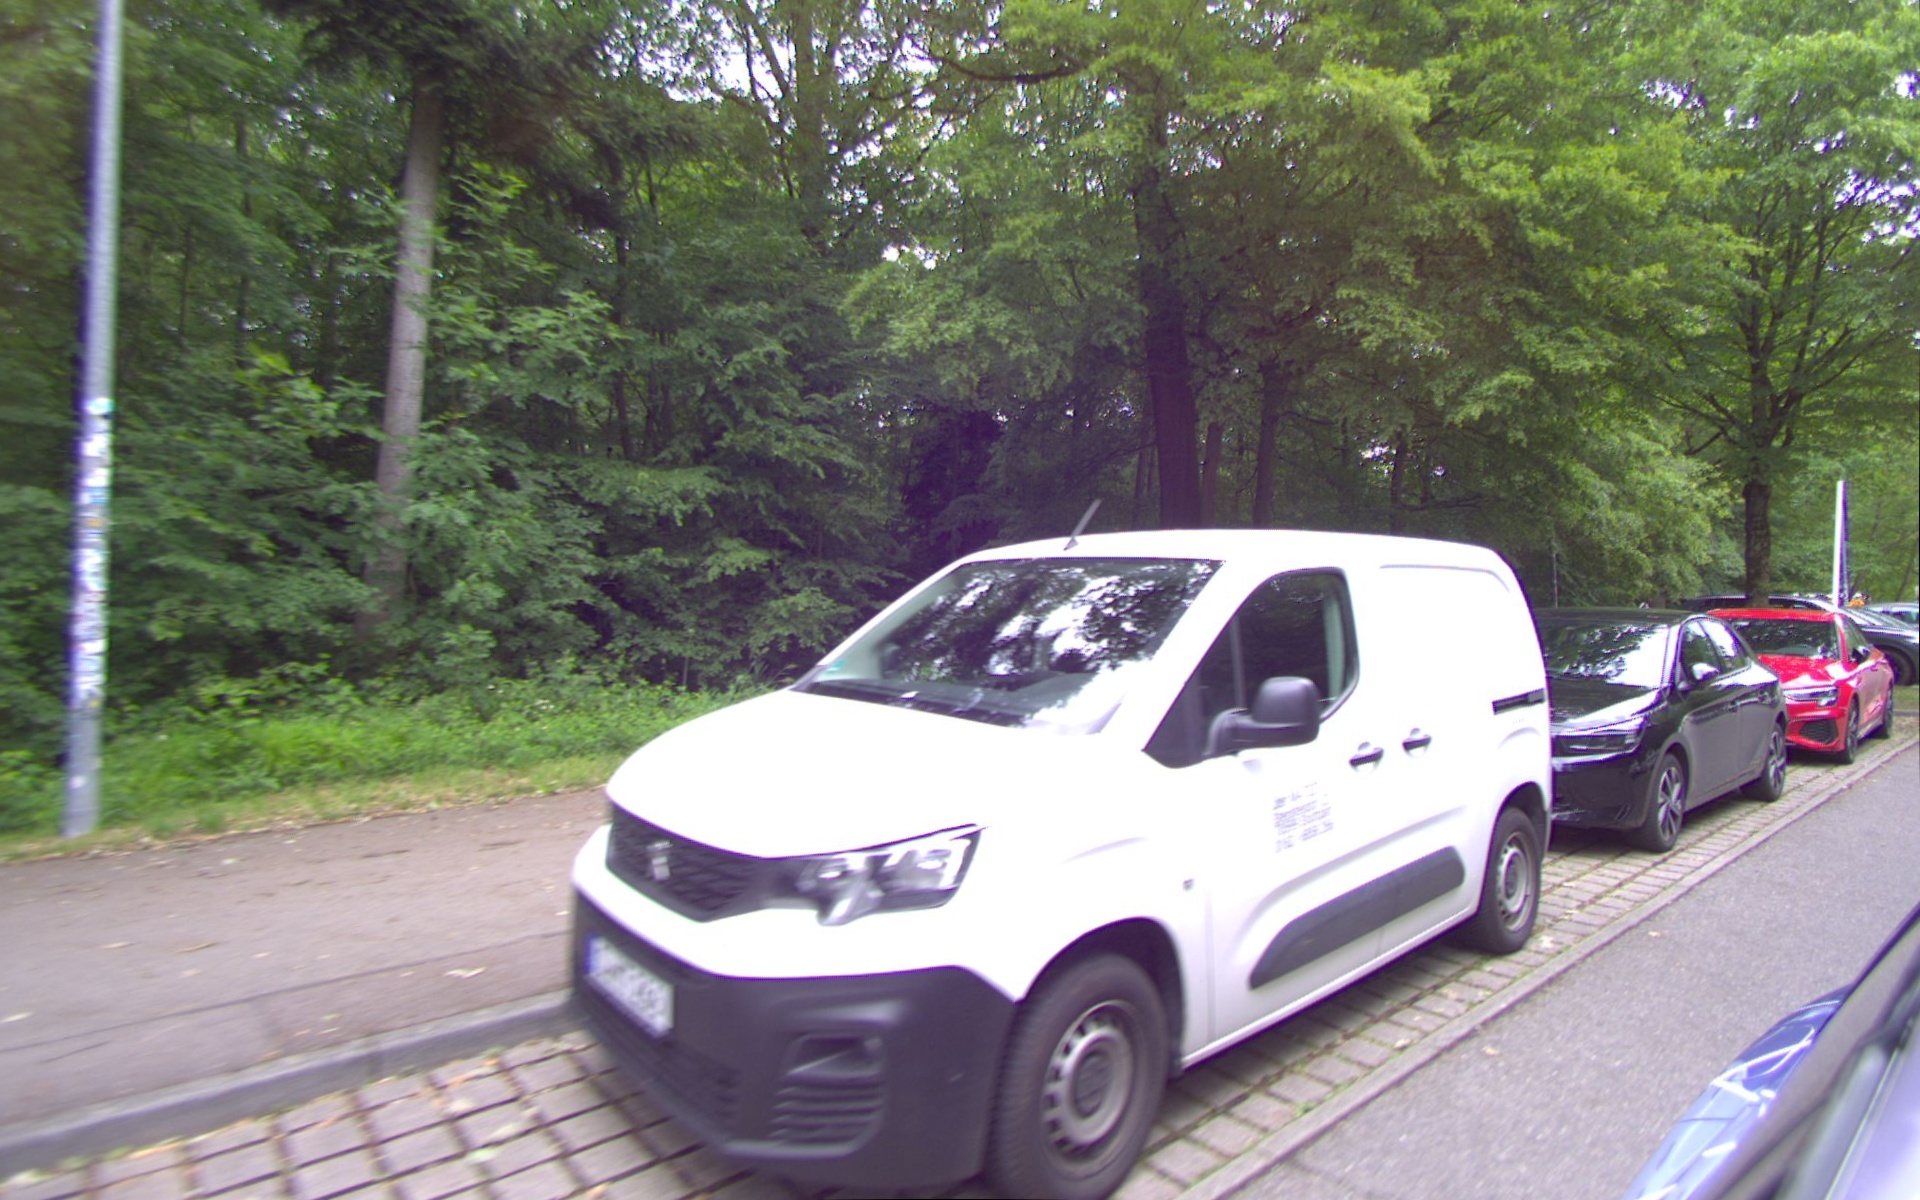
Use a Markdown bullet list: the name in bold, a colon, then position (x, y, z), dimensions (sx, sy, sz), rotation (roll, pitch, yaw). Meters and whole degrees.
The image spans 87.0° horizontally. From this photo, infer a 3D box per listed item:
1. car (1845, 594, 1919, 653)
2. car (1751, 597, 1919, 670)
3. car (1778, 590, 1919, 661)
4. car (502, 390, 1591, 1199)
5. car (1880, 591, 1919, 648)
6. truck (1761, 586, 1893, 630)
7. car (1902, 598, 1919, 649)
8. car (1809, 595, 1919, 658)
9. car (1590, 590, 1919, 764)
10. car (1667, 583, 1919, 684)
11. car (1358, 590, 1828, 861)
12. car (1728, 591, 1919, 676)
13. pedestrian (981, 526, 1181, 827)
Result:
- **car**: position (25.844, 0.611, 26.160), dimensions (1.858, 1.531, 4.198), rotation (1, -1, -37)
- **car**: position (19.818, 0.688, 21.818), dimensions (1.916, 1.494, 3.998), rotation (0, 0, -36)
- **car**: position (21.795, 0.570, 23.647), dimensions (1.816, 1.550, 3.838), rotation (0, 1, -37)
- **car**: position (0.810, 0.524, 4.004), dimensions (4.475, 1.803, 1.746), rotation (0, 0, -43)
- **car**: position (27.971, 0.555, 27.519), dimensions (1.939, 1.579, 4.023), rotation (1, -1, -33)
- **truck**: position (75.200, 0.674, 88.009), dimensions (2.809, 3.559, 8.259), rotation (2, -1, -27)
- **car**: position (29.943, 0.693, 29.051), dimensions (1.849, 1.503, 3.987), rotation (1, -1, -37)
- **car**: position (23.597, 0.641, 24.903), dimensions (1.774, 1.475, 3.839), rotation (0, 1, -35)
- **car**: position (8.909, 0.669, 11.103), dimensions (4.883, 1.498, 1.997), rotation (0, 0, -40)
- **car**: position (15.826, 0.560, 18.604), dimensions (1.922, 1.687, 4.276), rotation (0, 0, -38)
- **car**: position (4.788, 0.668, 7.400), dimensions (4.208, 1.441, 1.728), rotation (0, 0, -40)
- **car**: position (17.898, 0.626, 20.056), dimensions (1.942, 1.571, 3.991), rotation (0, 0, -43)
- **pedestrian**: position (0.779, 0.445, 6.521), dimensions (0.986, 1.748, 0.819), rotation (0, -1, -40)
